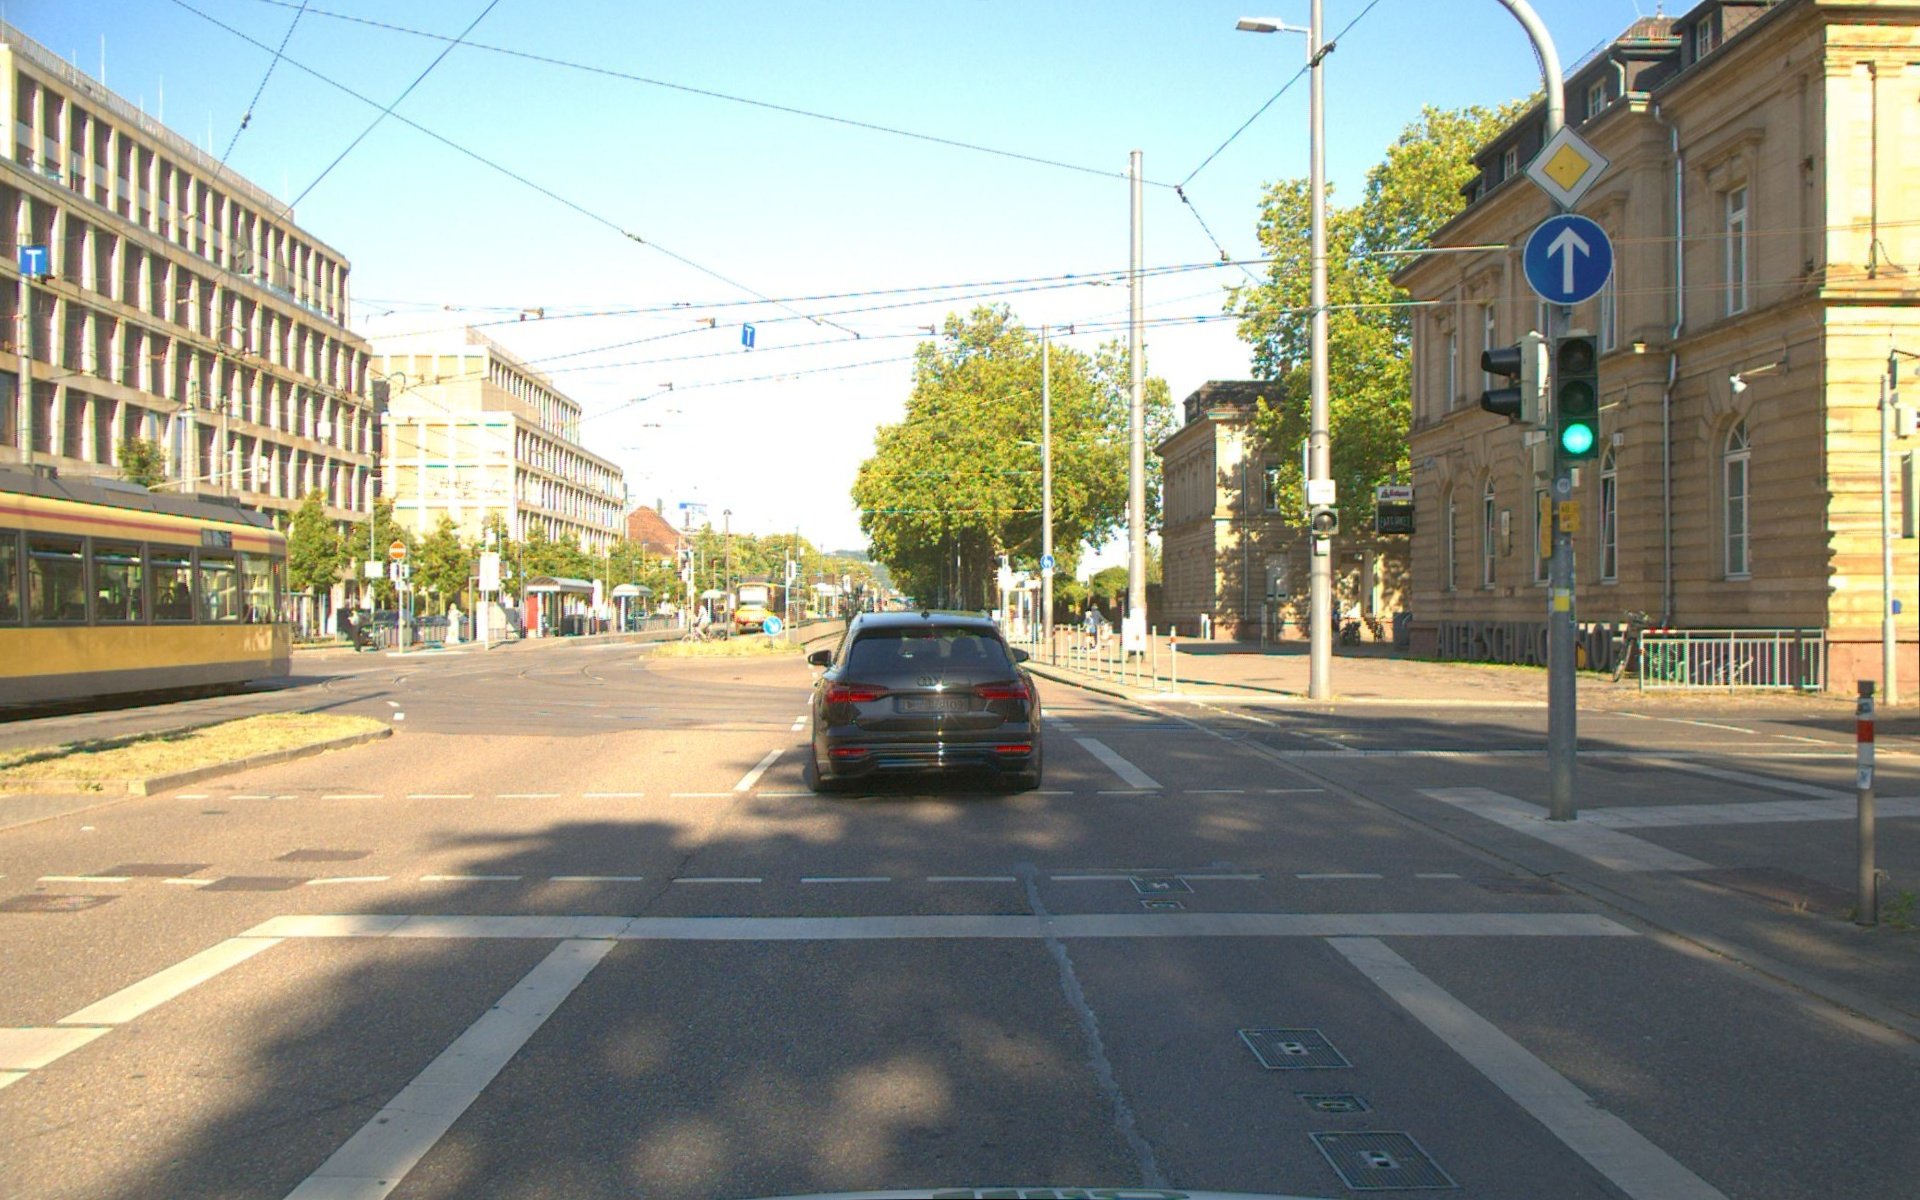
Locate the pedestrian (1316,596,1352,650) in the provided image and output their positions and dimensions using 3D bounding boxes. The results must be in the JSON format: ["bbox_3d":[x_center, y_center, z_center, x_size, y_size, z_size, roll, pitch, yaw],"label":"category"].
[{"bbox_3d":[13.225,0.808,58.491,0.962,1.898,0.824,0,0,-13],"label":"pedestrian"}]

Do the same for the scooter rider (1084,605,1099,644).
[{"bbox_3d":[4.830,0.901,60.800,0.475,1.410,0.377,-1,-2,-4],"label":"scooter rider"}]

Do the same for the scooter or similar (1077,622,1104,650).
[{"bbox_3d":[4.809,1.330,60.781,0.920,0.983,0.361,-1,-1,-4],"label":"scooter or similar"}]

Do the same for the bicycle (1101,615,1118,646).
[{"bbox_3d":[5.833,1.183,64.562,0.426,1.165,1.339,0,0,-4],"label":"bicycle"}]

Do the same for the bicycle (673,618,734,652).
[{"bbox_3d":[-8.973,1.216,57.823,1.980,1.128,0.758,0,0,-25],"label":"bicycle"}]

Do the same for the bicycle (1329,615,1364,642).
[{"bbox_3d":[15.669,1.162,67.157,0.516,1.065,2.353,0,0,-10],"label":"bicycle"}]

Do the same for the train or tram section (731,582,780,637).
[{"bbox_3d":[-13.526,0.624,110.176,2.557,3.511,11.124,0,0,-4],"label":"train or tram section"}]

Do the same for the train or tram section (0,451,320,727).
[{"bbox_3d":[-13.908,-0.096,26.715,2.756,3.550,12.148,0,0,-2],"label":"train or tram section"}]

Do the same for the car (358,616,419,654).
[{"bbox_3d":[-28.843,1.750,83.648,1.805,1.844,4.110,-1,0,-3],"label":"car"}]

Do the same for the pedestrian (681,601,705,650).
[{"bbox_3d":[-9.589,0.913,59.388,0.729,1.772,0.659,0,-1,-22],"label":"pedestrian"}]

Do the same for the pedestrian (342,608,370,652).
[{"bbox_3d":[-21.488,1.069,58.861,0.741,1.559,0.624,-1,0,2],"label":"pedestrian"}]

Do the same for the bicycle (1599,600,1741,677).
[{"bbox_3d":[12.176,0.651,28.382,2.094,1.230,0.765,-2,0,-4],"label":"bicycle"}]

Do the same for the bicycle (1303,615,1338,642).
[{"bbox_3d":[14.626,1.142,67.140,0.516,1.065,2.353,0,0,-10],"label":"bicycle"}]

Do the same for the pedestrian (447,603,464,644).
[{"bbox_3d":[-21.305,0.992,69.785,0.610,1.693,0.510,0,-1,-27],"label":"pedestrian"}]

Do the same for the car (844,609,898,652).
[{"bbox_3d":[-3.266,1.102,61.267,1.864,1.512,4.143,0,0,-1],"label":"car"}]

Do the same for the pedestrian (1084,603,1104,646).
[{"bbox_3d":[5.222,0.952,64.517,0.668,1.690,0.758,0,0,-4],"label":"pedestrian"}]

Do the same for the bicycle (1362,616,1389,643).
[{"bbox_3d":[17.013,1.202,67.737,0.515,1.065,2.230,0,0,-1],"label":"bicycle"}]

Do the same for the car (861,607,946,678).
[{"bbox_3d":[-1.296,0.946,38.528,1.864,1.512,4.143,0,0,-1],"label":"car"}]

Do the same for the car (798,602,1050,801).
[{"bbox_3d":[-0.314,0.758,14.363,1.864,1.446,4.143,0,0,-1],"label":"car"}]

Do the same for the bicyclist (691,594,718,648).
[{"bbox_3d":[-8.939,0.724,57.881,0.747,1.850,0.759,0,0,-25],"label":"bicyclist"}]
